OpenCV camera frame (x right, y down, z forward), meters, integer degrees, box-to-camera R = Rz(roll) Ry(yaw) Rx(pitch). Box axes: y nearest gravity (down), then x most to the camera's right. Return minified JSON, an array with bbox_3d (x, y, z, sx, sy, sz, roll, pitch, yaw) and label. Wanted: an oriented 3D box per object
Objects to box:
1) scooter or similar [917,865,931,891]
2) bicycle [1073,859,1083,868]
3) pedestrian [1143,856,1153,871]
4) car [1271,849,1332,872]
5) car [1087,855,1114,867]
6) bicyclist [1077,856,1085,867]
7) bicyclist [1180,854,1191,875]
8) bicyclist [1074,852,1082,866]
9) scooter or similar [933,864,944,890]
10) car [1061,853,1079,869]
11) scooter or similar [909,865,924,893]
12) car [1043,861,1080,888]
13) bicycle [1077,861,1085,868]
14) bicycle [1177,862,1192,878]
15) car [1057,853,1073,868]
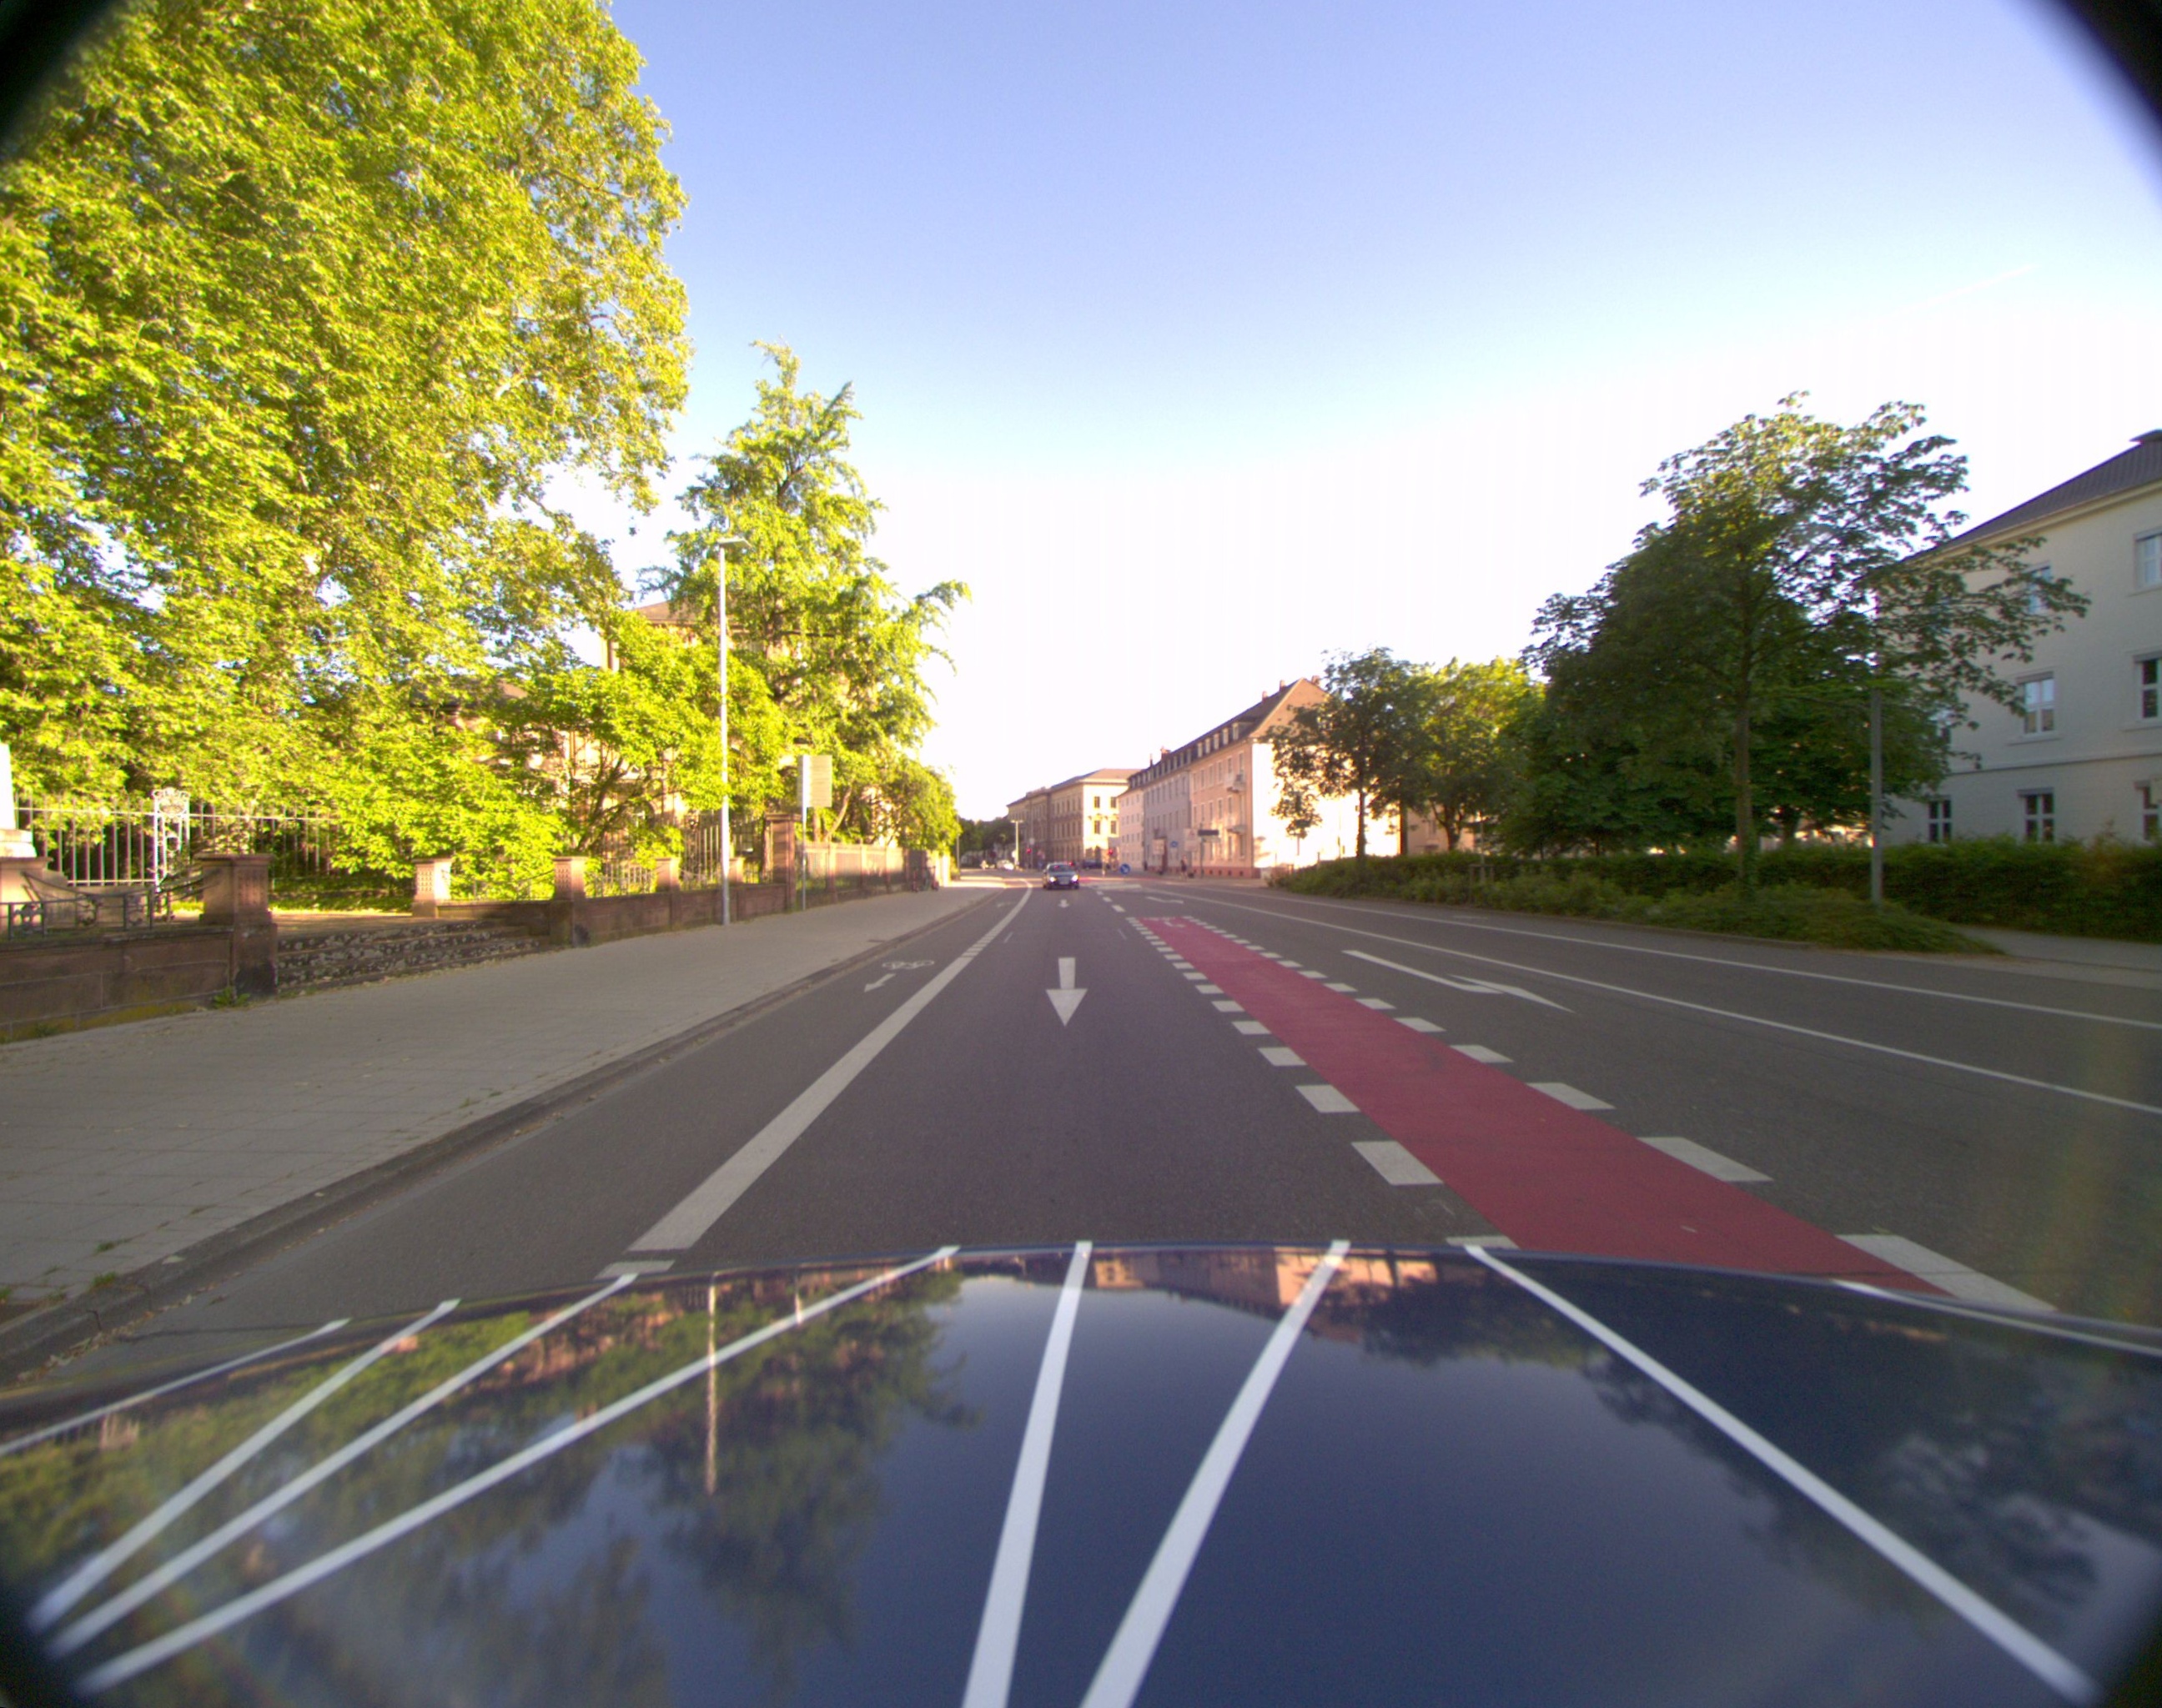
[{"bbox_3d":[-7.569,1.150,36.699,0.576,1.177,1.487,0,0,-7],"label":"scooter or similar"},{"bbox_3d":[-0.406,1.325,108.944,0.956,1.216,2.777,0,0,-9],"label":"bicycle"},{"bbox_3d":[8.531,1.180,96.867,0.949,1.894,1.062,-2,1,-7],"label":"pedestrian"},{"bbox_3d":[16.678,0.480,57.557,4.000,1.652,1.998,-2,1,-9],"label":"car"},{"bbox_3d":[3.256,1.170,127.448,4.513,2.093,2.000,0,0,-1],"label":"car"},{"bbox_3d":[-0.019,0.969,103.615,1.026,1.481,0.870,0,0,-9],"label":"bicyclist"},{"bbox_3d":[7.915,0.777,57.721,0.691,1.553,0.838,1,0,-3],"label":"bicyclist"},{"bbox_3d":[-0.405,0.669,108.955,0.956,2.002,1.307,0,0,-9],"label":"bicyclist"},{"bbox_3d":[-7.095,1.139,37.780,0.517,1.233,1.521,0,0,-11],"label":"scooter or similar"},{"bbox_3d":[-1.404,0.844,96.032,1.999,2.002,3.998,0,0,-5],"label":"car"},{"bbox_3d":[-7.555,1.135,34.846,0.577,1.246,1.486,0,0,-15],"label":"scooter or similar"},{"bbox_3d":[-1.154,1.128,42.656,1.710,1.397,4.261,0,0,-7],"label":"car"},{"bbox_3d":[-0.020,1.396,103.627,0.663,0.907,2.861,0,0,-9],"label":"bicycle"},{"bbox_3d":[7.894,1.237,57.992,0.697,1.152,2.245,1,0,-3],"label":"bicycle"},{"bbox_3d":[-2.180,0.891,102.284,1.999,2.002,3.998,0,0,-5],"label":"car"}]
